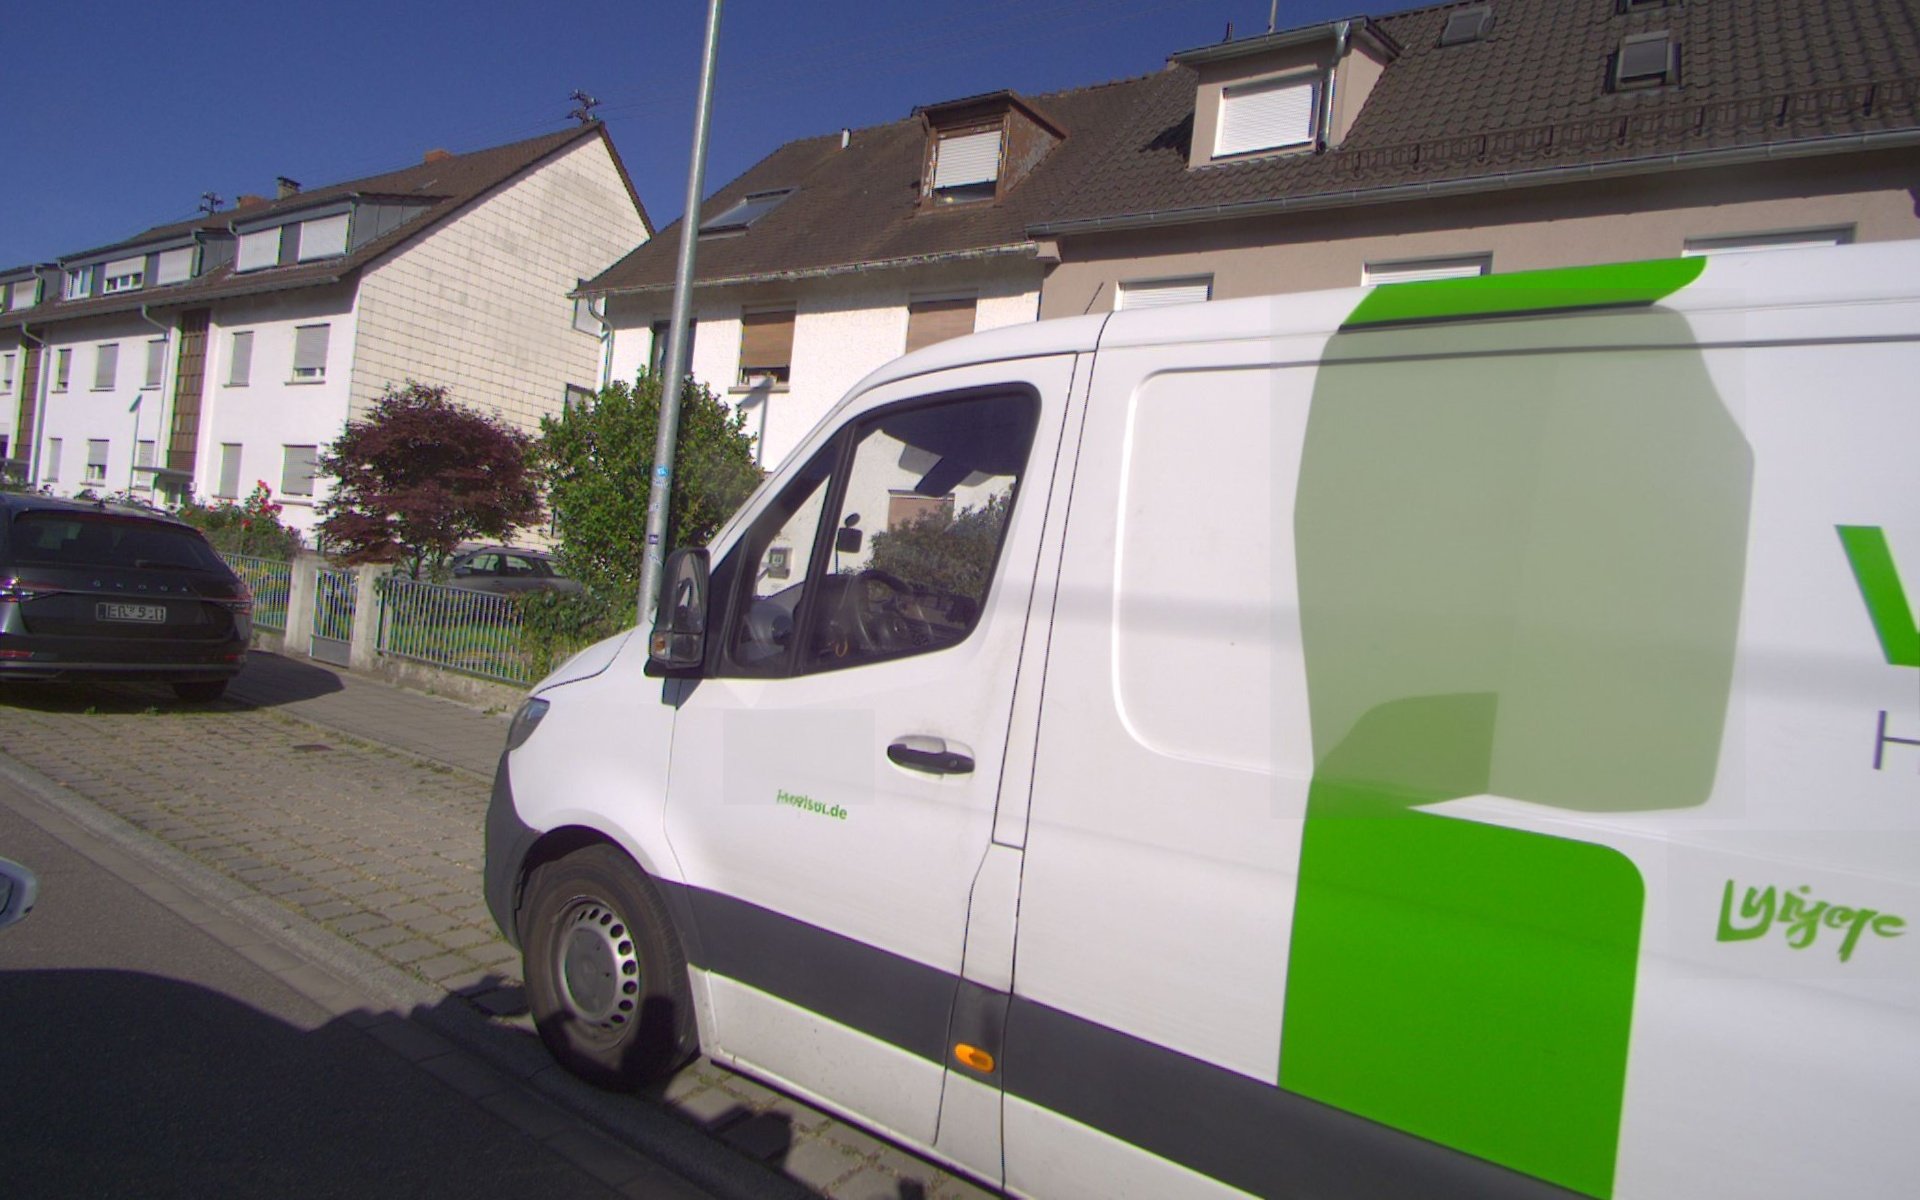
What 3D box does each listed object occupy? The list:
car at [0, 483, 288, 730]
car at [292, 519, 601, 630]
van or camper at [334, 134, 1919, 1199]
[{"bbox_3d":[-7.648,-0.136,8.101,5.070,1.513,1.749,6,1,32],"label":"car"},{"bbox_3d":[-9.199,-0.378,18.477,1.875,1.495,4.719,5,-1,30],"label":"car"},{"bbox_3d":[1.025,0.484,2.710,6.201,2.300,1.994,6,1,32],"label":"van or camper"}]
